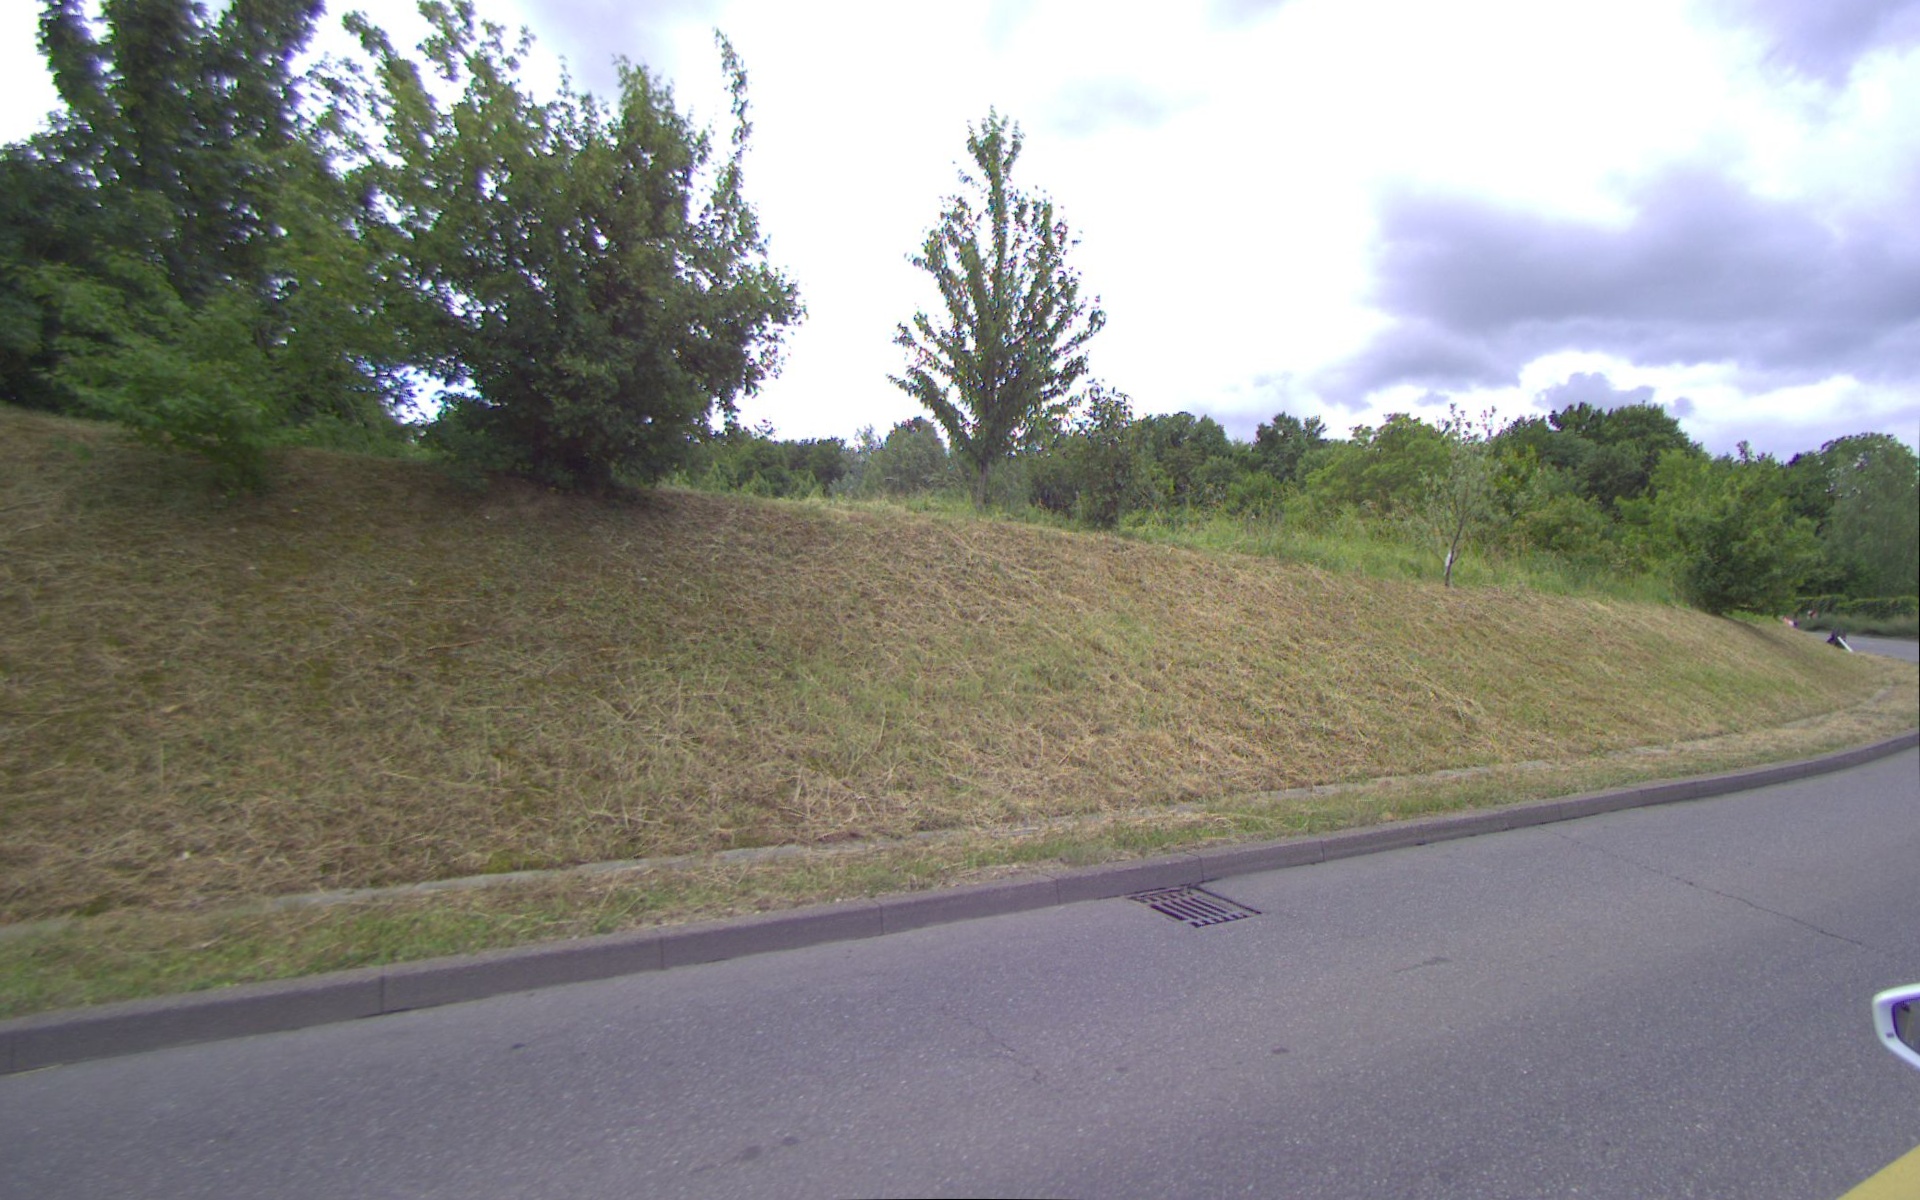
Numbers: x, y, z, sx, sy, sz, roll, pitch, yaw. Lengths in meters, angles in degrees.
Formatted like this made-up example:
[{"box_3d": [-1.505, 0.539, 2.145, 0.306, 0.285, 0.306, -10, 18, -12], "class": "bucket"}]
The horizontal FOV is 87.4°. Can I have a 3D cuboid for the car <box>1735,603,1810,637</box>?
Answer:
[{"box_3d": [41.609, 1.046, 51.522, 1.713, 1.434, 3.755, 7, -1, 19], "class": "car"}]

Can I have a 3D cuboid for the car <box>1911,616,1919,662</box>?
[{"box_3d": [31.914, 1.284, 31.711, 1.855, 1.497, 4.590, 0, 0, 32], "class": "car"}]
